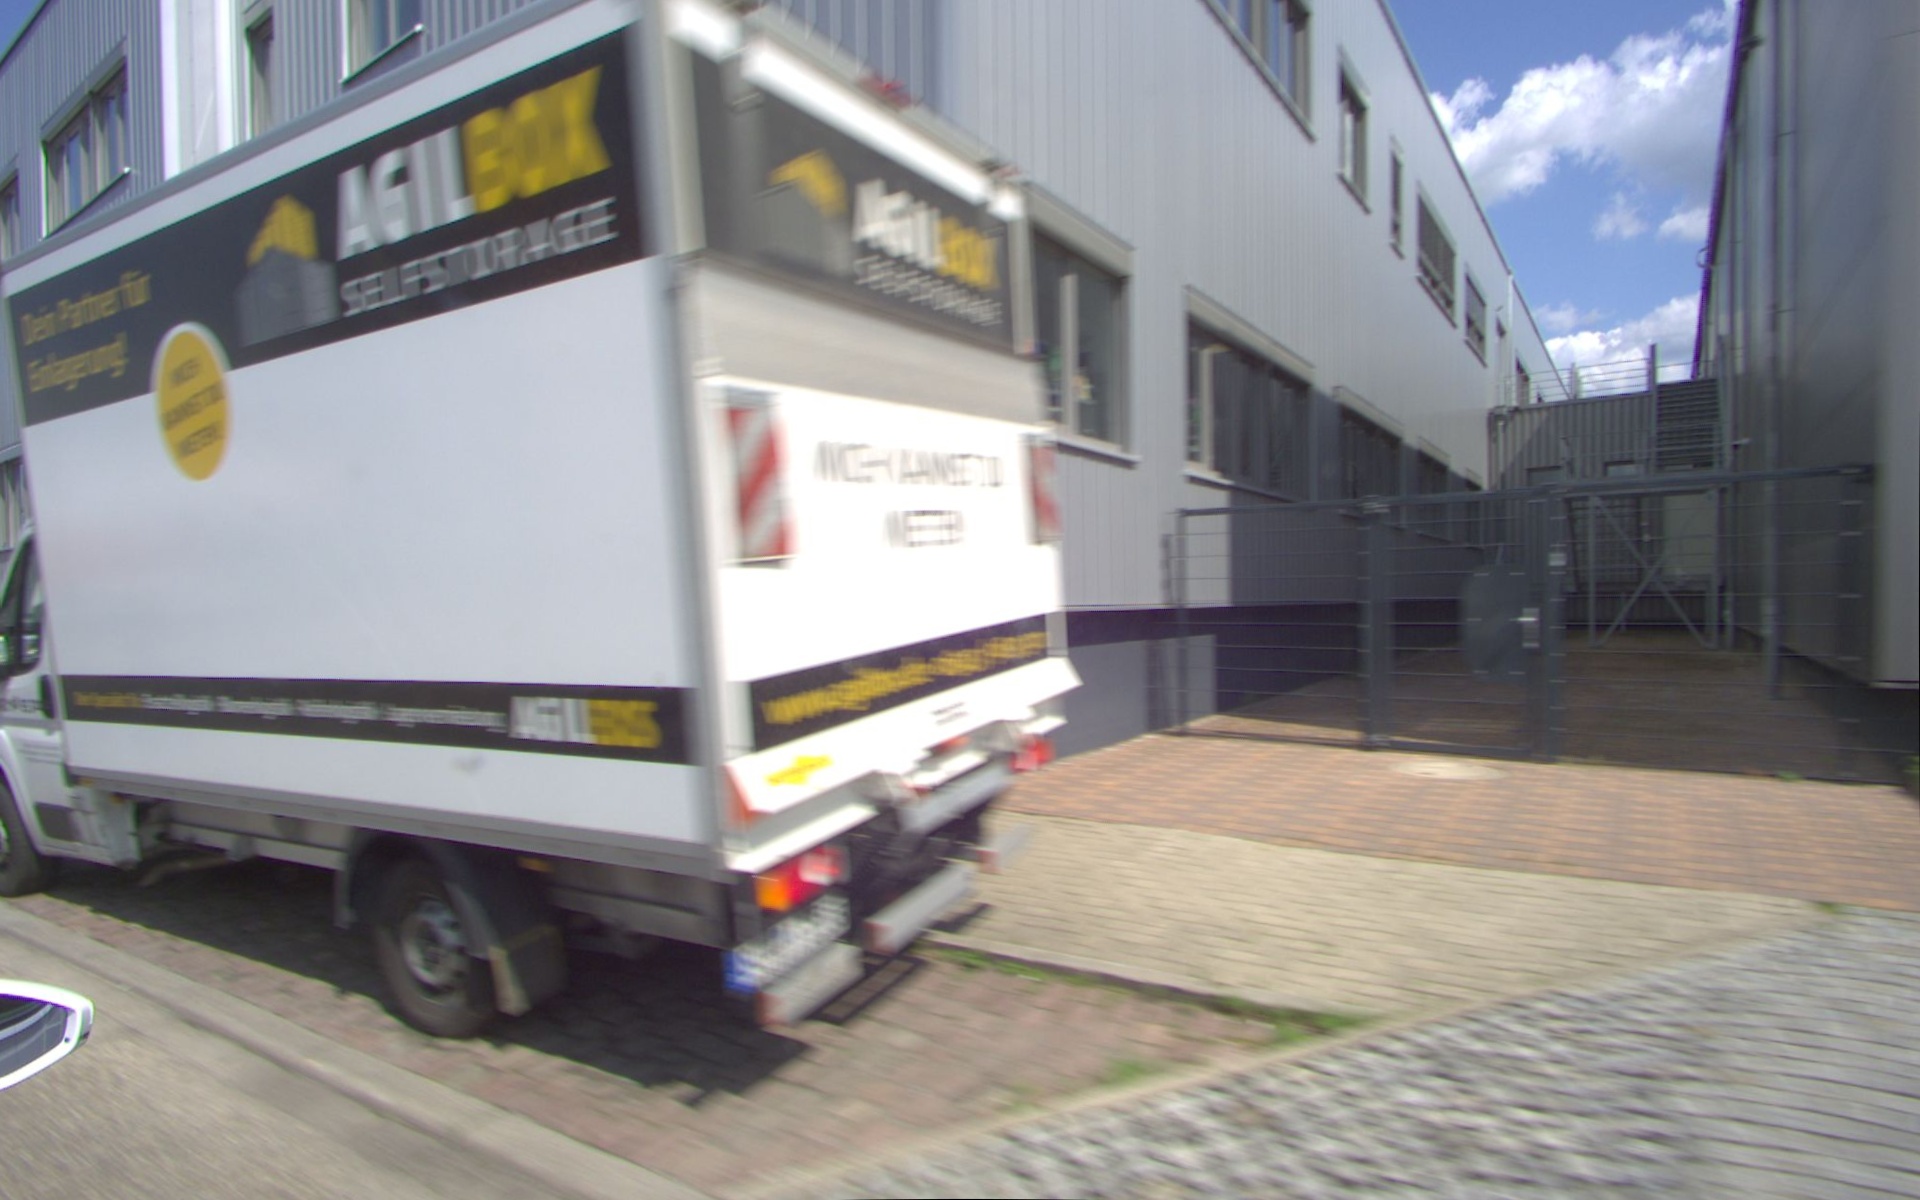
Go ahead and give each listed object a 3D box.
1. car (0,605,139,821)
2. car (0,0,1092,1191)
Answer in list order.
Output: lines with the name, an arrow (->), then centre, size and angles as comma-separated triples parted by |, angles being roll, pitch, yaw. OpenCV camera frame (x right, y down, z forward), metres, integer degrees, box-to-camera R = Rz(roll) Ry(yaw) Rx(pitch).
car -> -8.834, 0.880, 8.617 | 4.012, 1.595, 1.563 | -1, 1, 33
car -> -2.866, -0.193, 5.147 | 6.545, 3.410, 2.383 | -1, 3, 30
